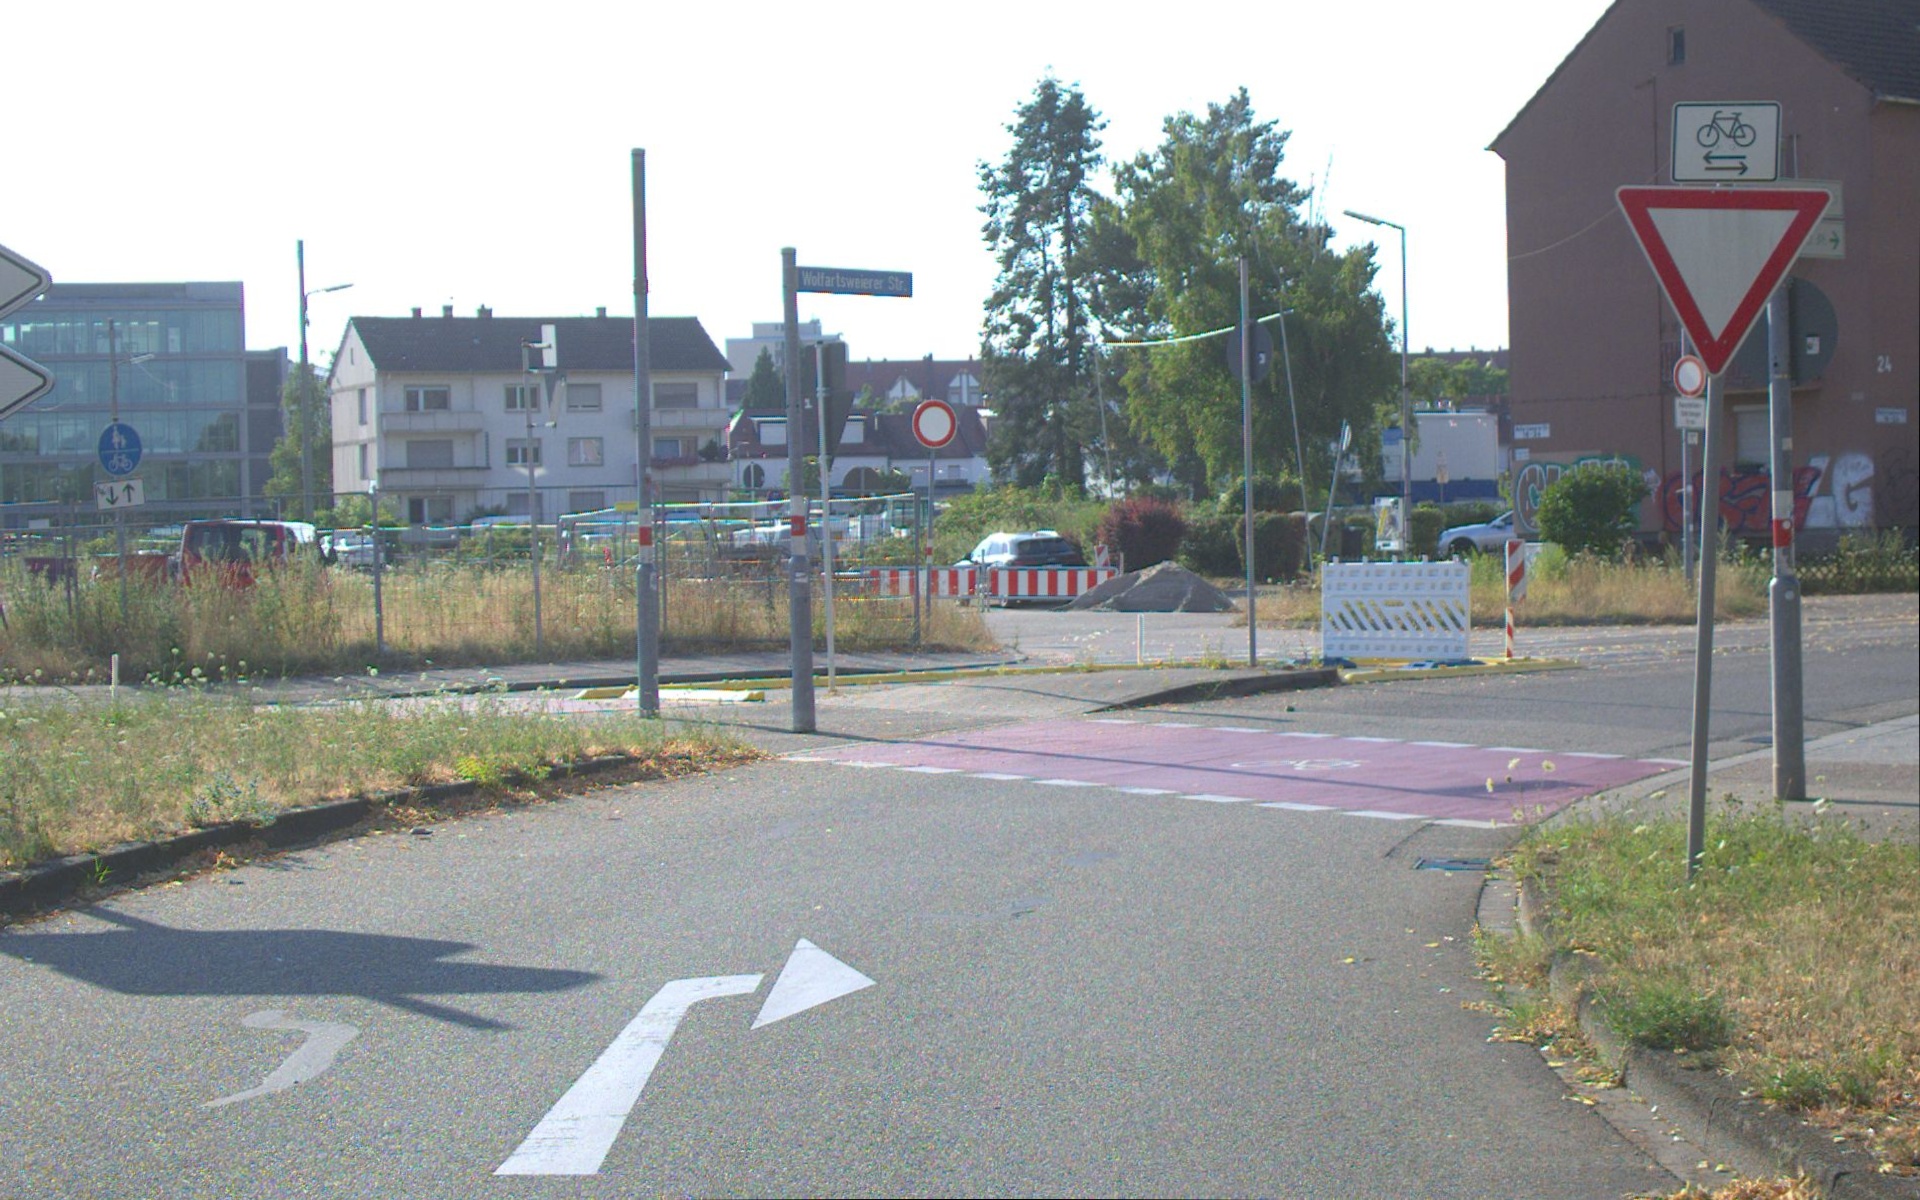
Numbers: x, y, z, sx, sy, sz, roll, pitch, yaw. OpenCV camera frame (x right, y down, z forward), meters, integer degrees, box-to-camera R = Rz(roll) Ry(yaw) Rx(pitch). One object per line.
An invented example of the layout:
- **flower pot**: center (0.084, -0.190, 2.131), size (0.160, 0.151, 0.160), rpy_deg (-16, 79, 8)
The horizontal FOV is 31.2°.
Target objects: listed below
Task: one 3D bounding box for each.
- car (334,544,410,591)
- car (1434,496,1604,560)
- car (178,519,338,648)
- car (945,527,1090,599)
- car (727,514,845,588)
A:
- **car**: center (-24.127, -1.336, 141.028), size (2.145, 1.831, 4.363), rpy_deg (-2, 1, -22)
- **car**: center (14.266, -1.830, 87.709), size (3.990, 1.525, 1.998), rpy_deg (-1, 1, 19)
- **car**: center (-11.726, -0.325, 57.725), size (1.993, 2.007, 5.314), rpy_deg (-2, 1, -5)
- **car**: center (1.286, -0.859, 78.674), size (1.993, 1.546, 4.001), rpy_deg (-2, 1, -20)
- **car**: center (-4.768, -1.332, 93.874), size (1.862, 1.941, 4.001), rpy_deg (-2, 1, -24)
